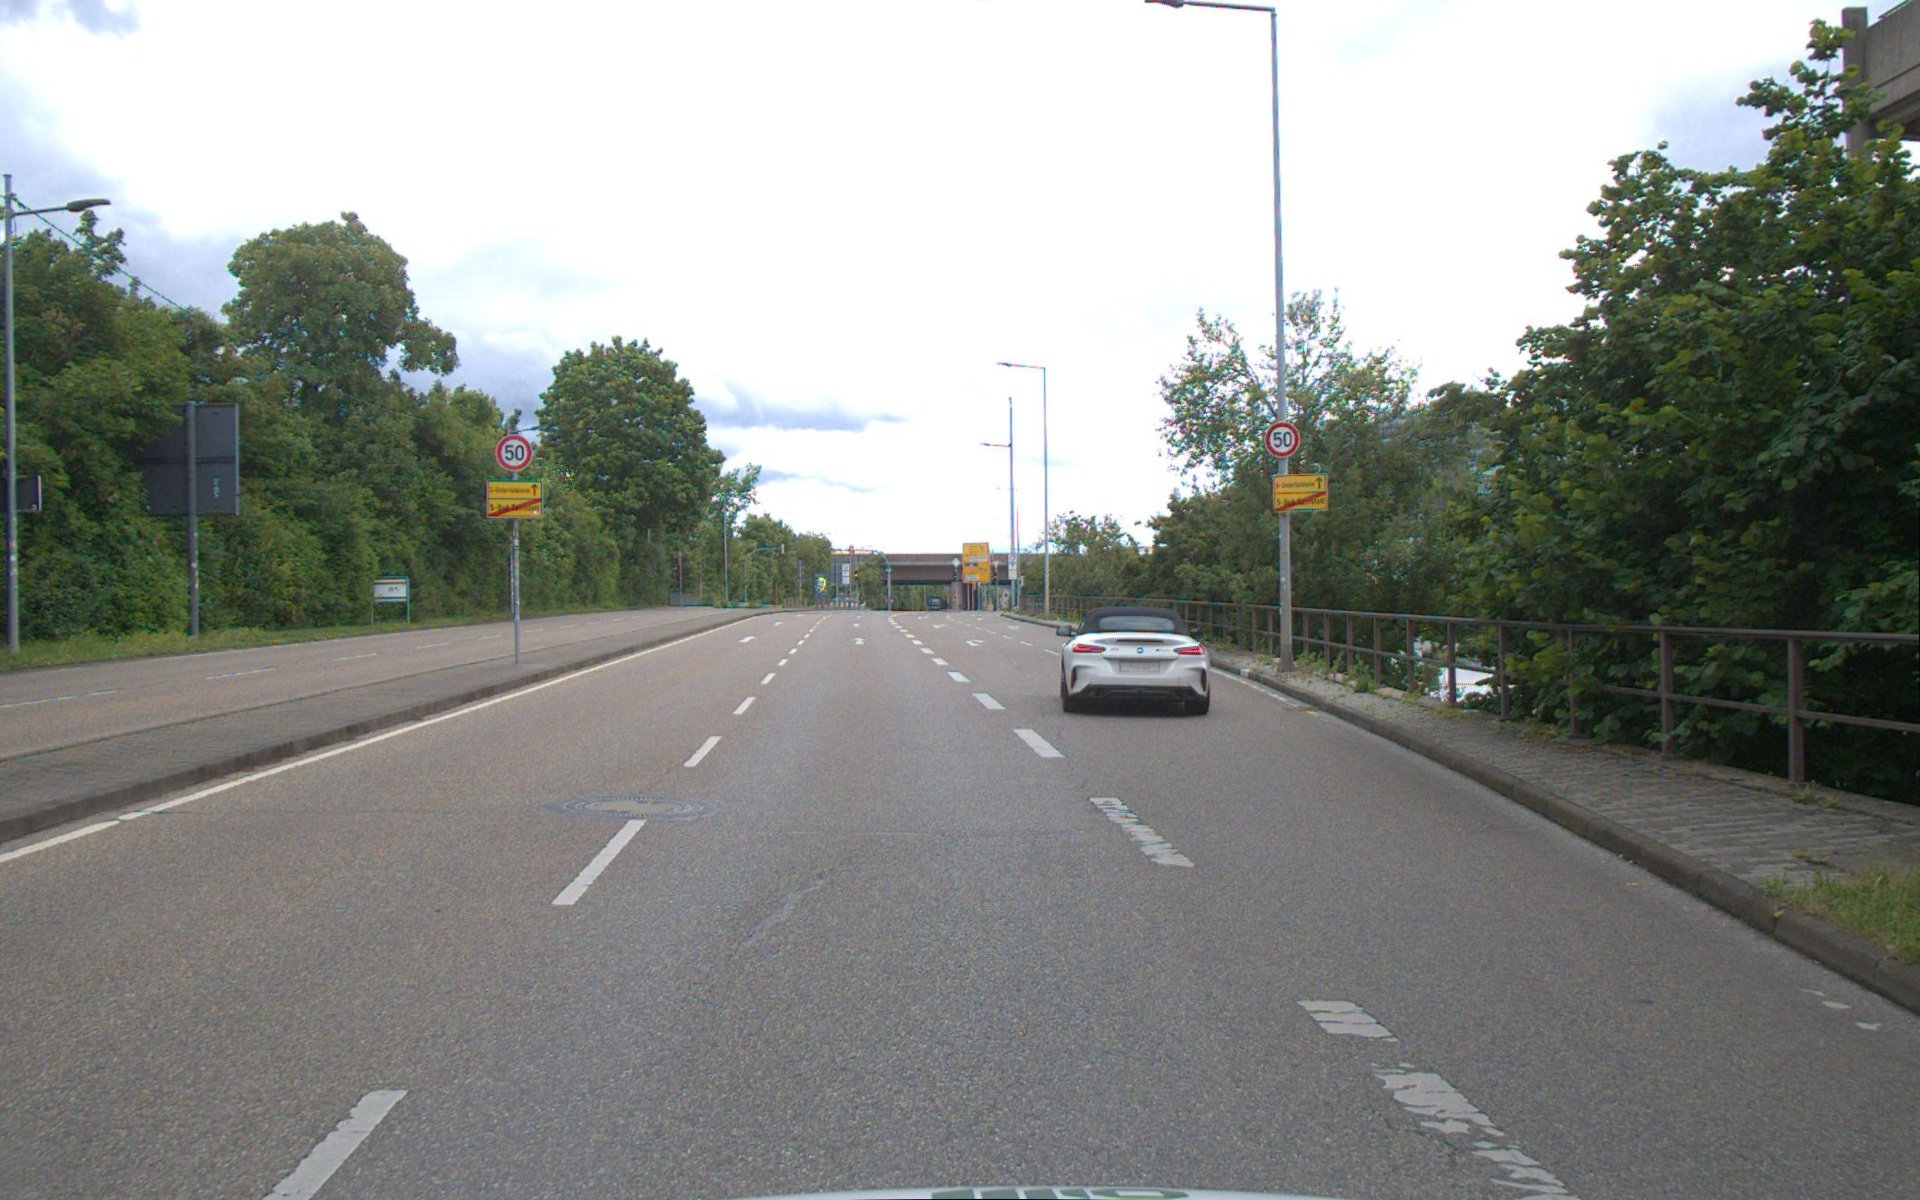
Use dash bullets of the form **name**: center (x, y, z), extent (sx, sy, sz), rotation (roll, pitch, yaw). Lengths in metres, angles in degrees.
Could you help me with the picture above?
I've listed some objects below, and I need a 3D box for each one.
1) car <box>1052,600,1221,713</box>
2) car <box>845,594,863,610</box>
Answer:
- **car**: center (2.222, 0.692, 21.770), extent (1.836, 1.332, 3.873), rotation (1, 0, 0)
- **car**: center (-11.717, 0.217, 183.189), extent (1.735, 1.661, 3.824), rotation (2, -1, 0)
